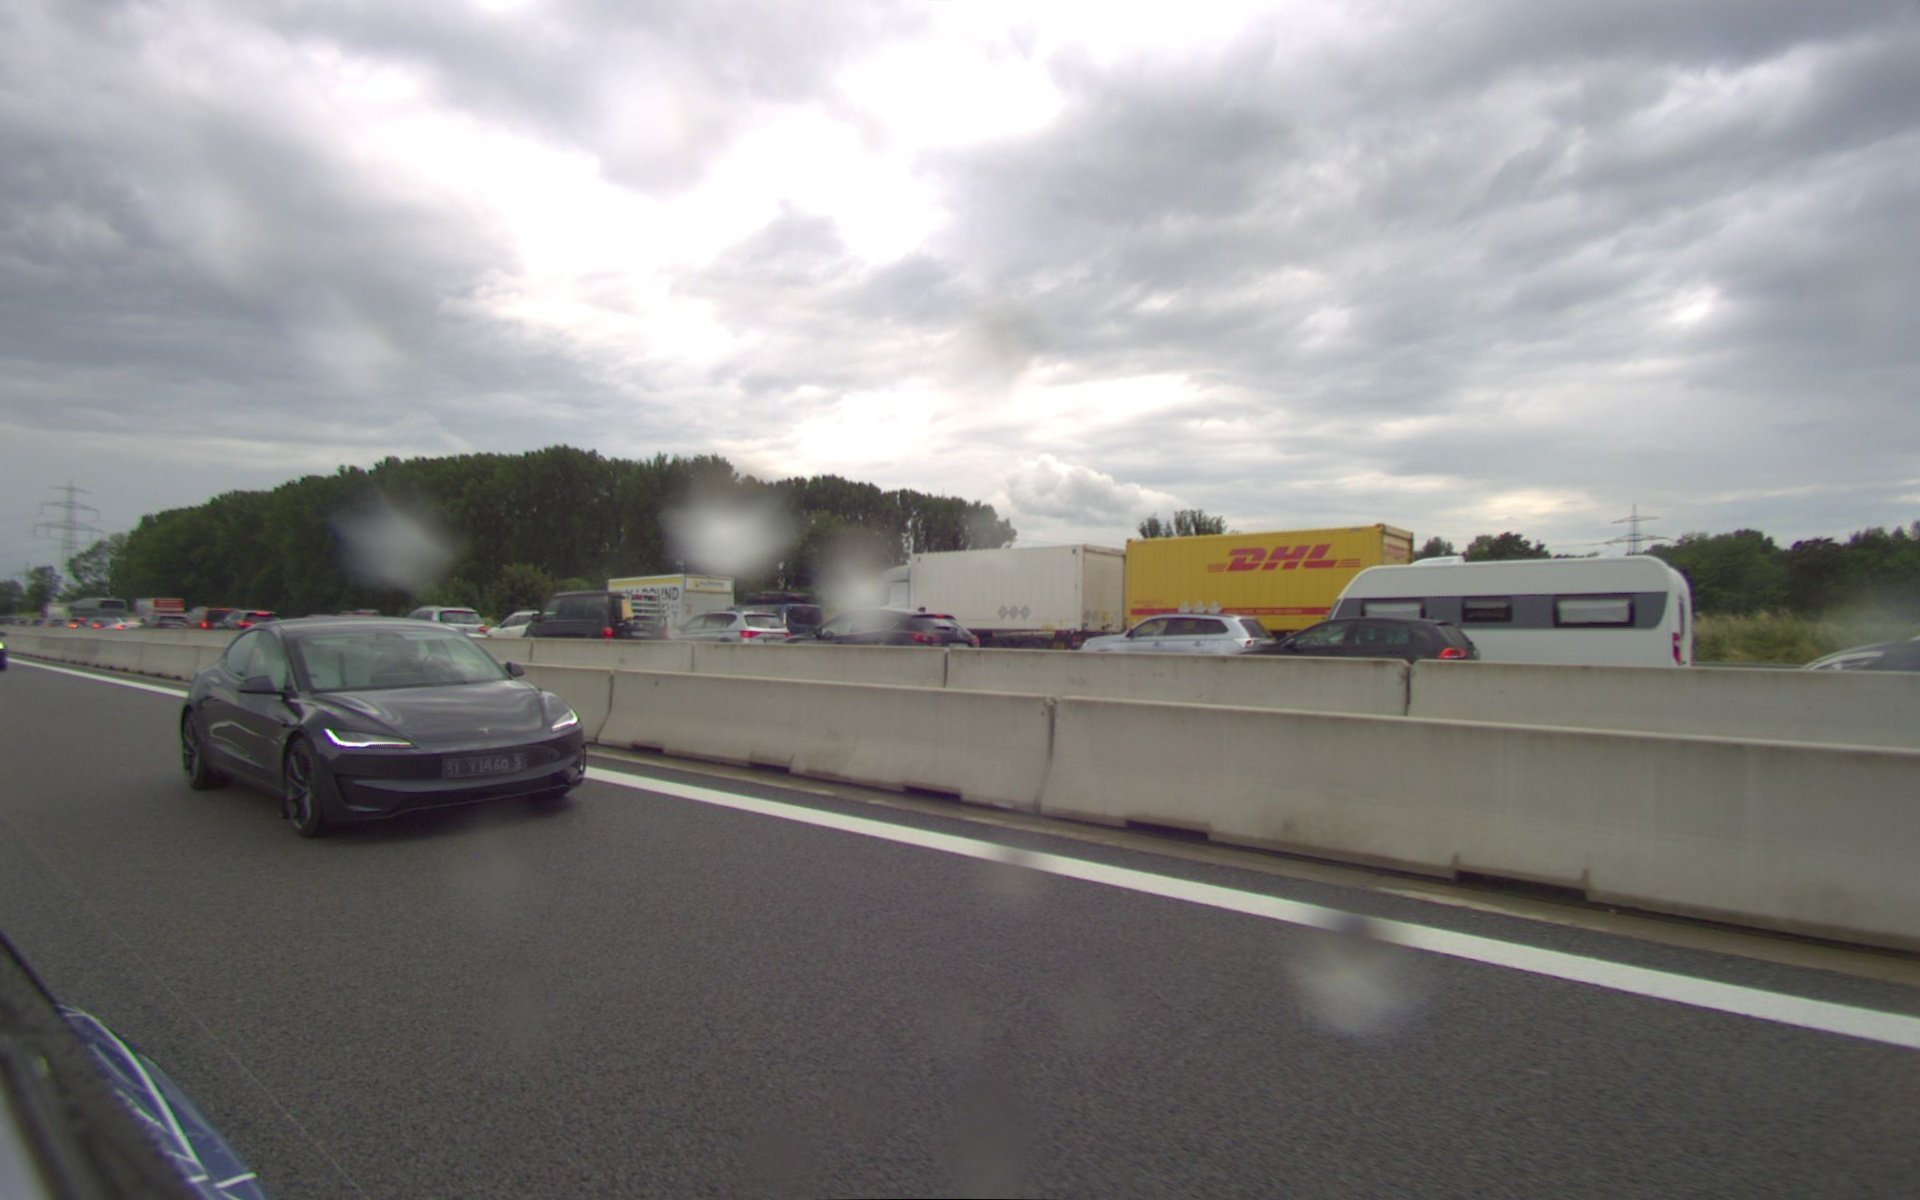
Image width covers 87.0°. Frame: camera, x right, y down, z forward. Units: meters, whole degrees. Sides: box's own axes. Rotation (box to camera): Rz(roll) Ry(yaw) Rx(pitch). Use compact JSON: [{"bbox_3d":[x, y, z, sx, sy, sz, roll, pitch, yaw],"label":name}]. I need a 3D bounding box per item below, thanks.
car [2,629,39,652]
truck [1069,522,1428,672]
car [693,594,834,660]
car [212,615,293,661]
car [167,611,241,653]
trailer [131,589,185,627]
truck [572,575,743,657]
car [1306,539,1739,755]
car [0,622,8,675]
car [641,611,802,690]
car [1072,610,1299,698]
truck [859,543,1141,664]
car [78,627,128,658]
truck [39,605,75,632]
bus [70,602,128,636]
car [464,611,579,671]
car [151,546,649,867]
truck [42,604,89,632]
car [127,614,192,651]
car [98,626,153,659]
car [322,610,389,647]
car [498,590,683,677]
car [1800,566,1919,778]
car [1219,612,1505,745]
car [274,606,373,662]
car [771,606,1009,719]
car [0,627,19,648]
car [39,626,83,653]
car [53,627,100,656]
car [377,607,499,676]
[{"bbox_3d":[-84.436,3.643,90.933,4.693,1.982,1.973,-2,-1,41],"label":"car"},{"bbox_3d":[7.842,0.004,28.857,9.578,3.640,2.847,-1,-1,42],"label":"truck"},{"bbox_3d":[-6.675,0.891,34.024,5.096,2.029,1.972,-2,-1,42],"label":"car"},{"bbox_3d":[-31.587,1.656,45.125,4.501,1.918,1.973,-2,-1,41],"label":"car"},{"bbox_3d":[-38.969,1.643,52.127,5.415,2.029,1.973,-2,-1,41],"label":"car"},{"bbox_3d":[-84.938,0.907,107.117,9.155,3.791,2.830,-2,-2,41],"label":"trailer"},{"bbox_3d":[-13.668,0.737,45.159,9.197,3.315,2.879,-2,-1,41],"label":"truck"},{"bbox_3d":[10.122,0.776,18.644,6.557,3.302,2.633,-2,-1,40],"label":"car"},{"bbox_3d":[-28.213,1.369,28.391,3.999,1.426,1.897,-2,-2,42],"label":"car"},{"bbox_3d":[-6.788,1.360,28.520,4.811,2.029,1.973,-2,-1,41],"label":"car"},{"bbox_3d":[5.020,1.157,22.936,4.708,1.785,1.854,-2,-1,41],"label":"car"},{"bbox_3d":[1.051,0.185,34.980,10.309,3.640,2.847,-1,-1,42],"label":"truck"},{"bbox_3d":[-58.677,2.868,69.243,4.347,2.029,1.973,-2,-1,41],"label":"car"},{"bbox_3d":[-129.866,2.639,145.489,6.315,3.740,3.118,-2,-1,41],"label":"truck"},{"bbox_3d":[-91.414,2.092,107.296,13.990,3.411,2.659,-2,-1,41],"label":"bus"},{"bbox_3d":[-16.072,1.458,36.993,4.811,2.029,1.973,-2,-1,41],"label":"car"},{"bbox_3d":[-4.813,0.655,8.254,5.161,1.834,1.972,-2,-1,42],"label":"car"},{"bbox_3d":[-124.986,2.525,141.261,13.290,3.774,3.116,-2,-1,41],"label":"truck"},{"bbox_3d":[-46.087,1.872,58.250,5.415,2.029,1.973,-2,-1,41],"label":"car"},{"bbox_3d":[-53.939,2.701,65.401,4.969,2.029,1.973,-2,-1,41],"label":"car"},{"bbox_3d":[-34.882,1.642,58.343,4.684,2.029,1.973,-2,-1,41],"label":"car"},{"bbox_3d":[-9.738,0.841,26.364,5.754,2.029,1.973,-2,-1,41],"label":"car"},{"bbox_3d":[9.943,0.574,8.276,4.670,1.795,1.973,-2,-1,41],"label":"car"},{"bbox_3d":[6.628,1.199,16.906,3.998,1.918,1.973,-2,-1,41],"label":"car"},{"bbox_3d":[-24.672,1.276,39.187,4.684,2.029,1.973,-2,-1,41],"label":"car"},{"bbox_3d":[-1.312,1.019,17.946,3.998,1.763,1.973,-2,-1,41],"label":"car"},{"bbox_3d":[-94.322,3.675,99.645,4.693,1.982,1.973,-2,-1,41],"label":"car"},{"bbox_3d":[-70.046,3.035,78.808,4.693,1.982,1.973,-2,-1,41],"label":"car"},{"bbox_3d":[-65.291,3.027,74.761,4.693,2.029,1.973,-2,-1,41],"label":"car"},{"bbox_3d":[-16.642,1.280,32.162,4.422,2.029,1.973,-2,-1,41],"label":"car"}]
